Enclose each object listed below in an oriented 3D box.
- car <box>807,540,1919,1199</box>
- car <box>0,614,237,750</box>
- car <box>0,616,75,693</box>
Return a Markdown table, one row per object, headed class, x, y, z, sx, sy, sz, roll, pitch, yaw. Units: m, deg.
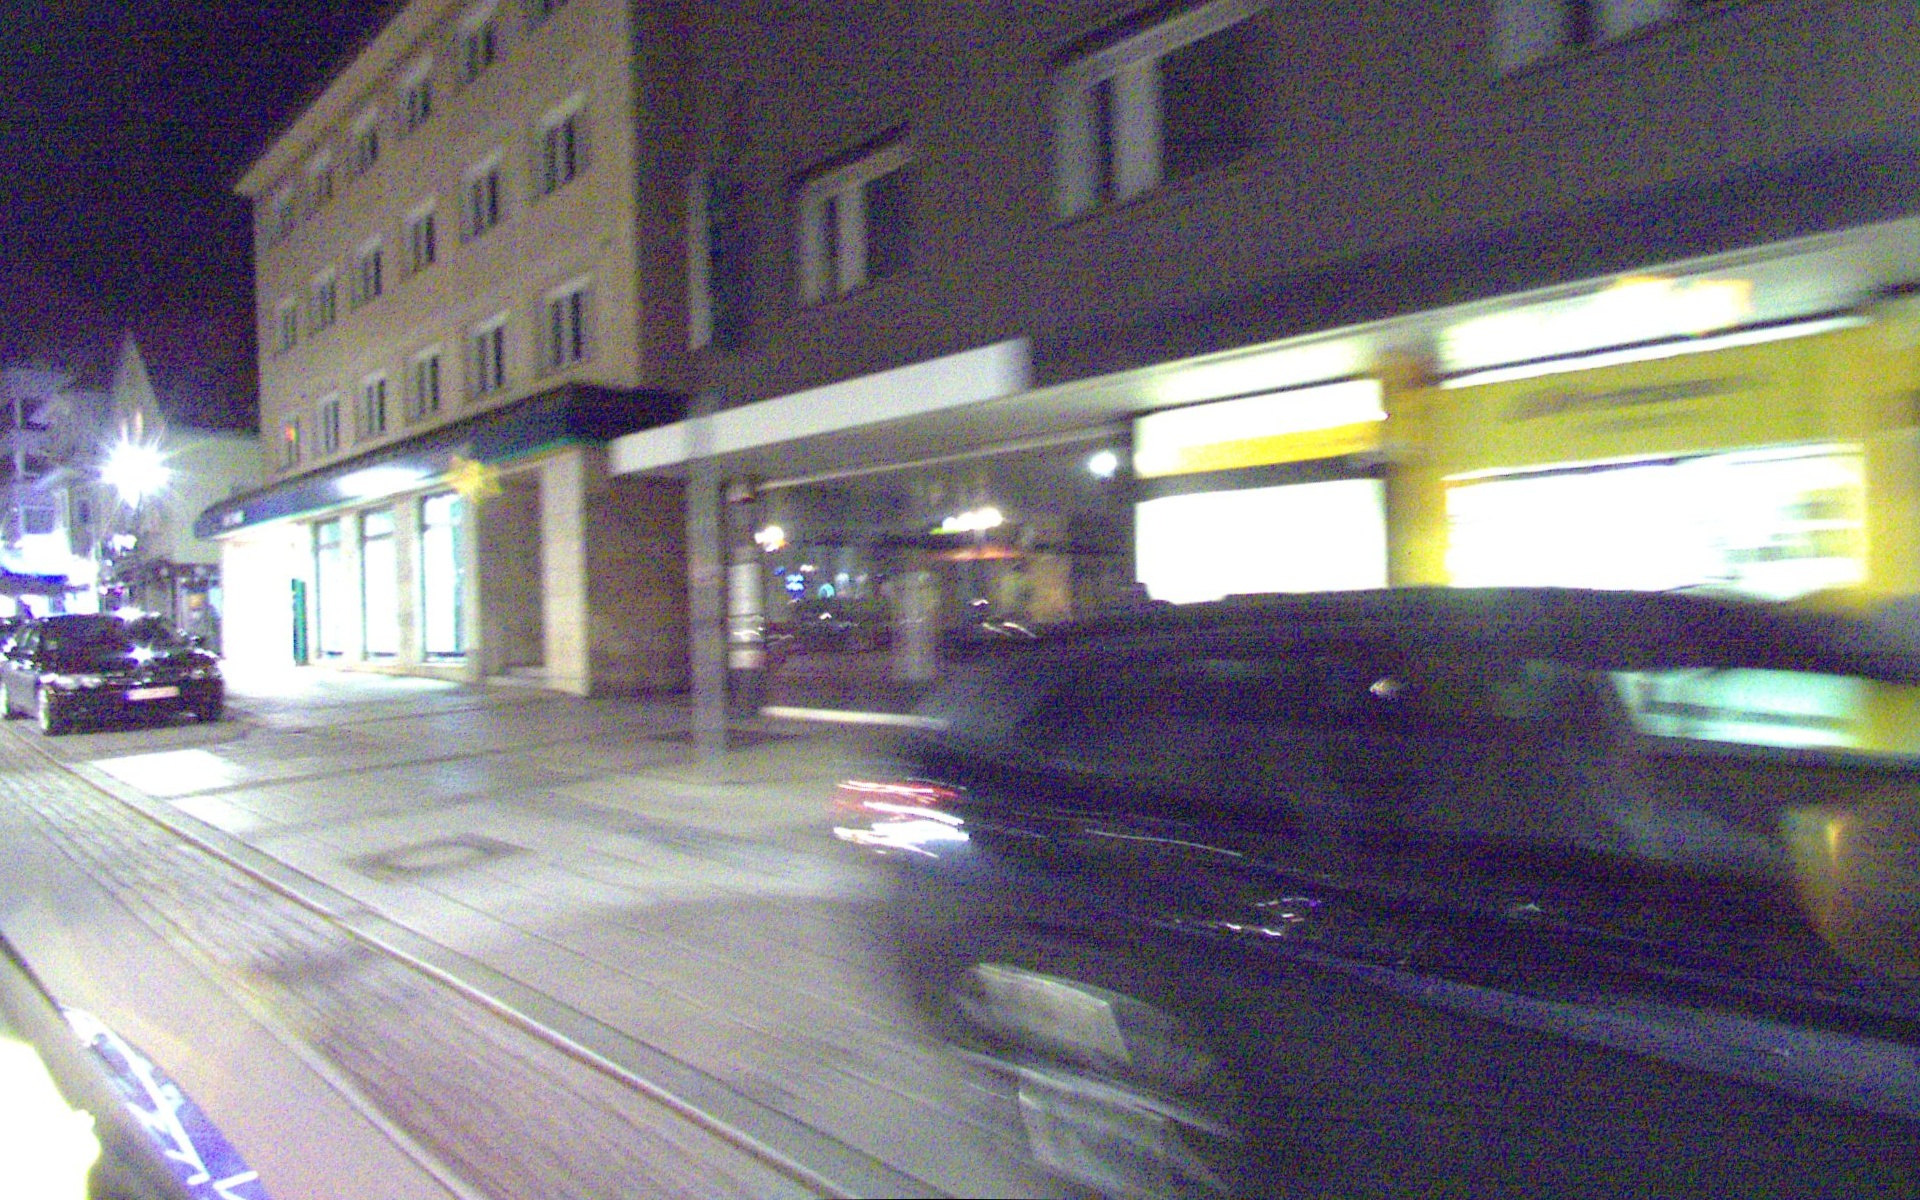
| class | x | y | z | sx | sy | sz | roll | pitch | yaw |
| --- | --- | --- | --- | --- | --- | --- | --- | --- | --- |
| car | 1.821 | 0.631 | 2.062 | 4.317 | 1.489 | 1.779 | -1 | 1 | 40 |
| car | -11.677 | 0.988 | 13.678 | 4.616 | 1.475 | 1.828 | -1 | 1 | 38 |
| car | -20.584 | 1.122 | 21.511 | 4.519 | 1.481 | 1.882 | -1 | 0 | 38 |
